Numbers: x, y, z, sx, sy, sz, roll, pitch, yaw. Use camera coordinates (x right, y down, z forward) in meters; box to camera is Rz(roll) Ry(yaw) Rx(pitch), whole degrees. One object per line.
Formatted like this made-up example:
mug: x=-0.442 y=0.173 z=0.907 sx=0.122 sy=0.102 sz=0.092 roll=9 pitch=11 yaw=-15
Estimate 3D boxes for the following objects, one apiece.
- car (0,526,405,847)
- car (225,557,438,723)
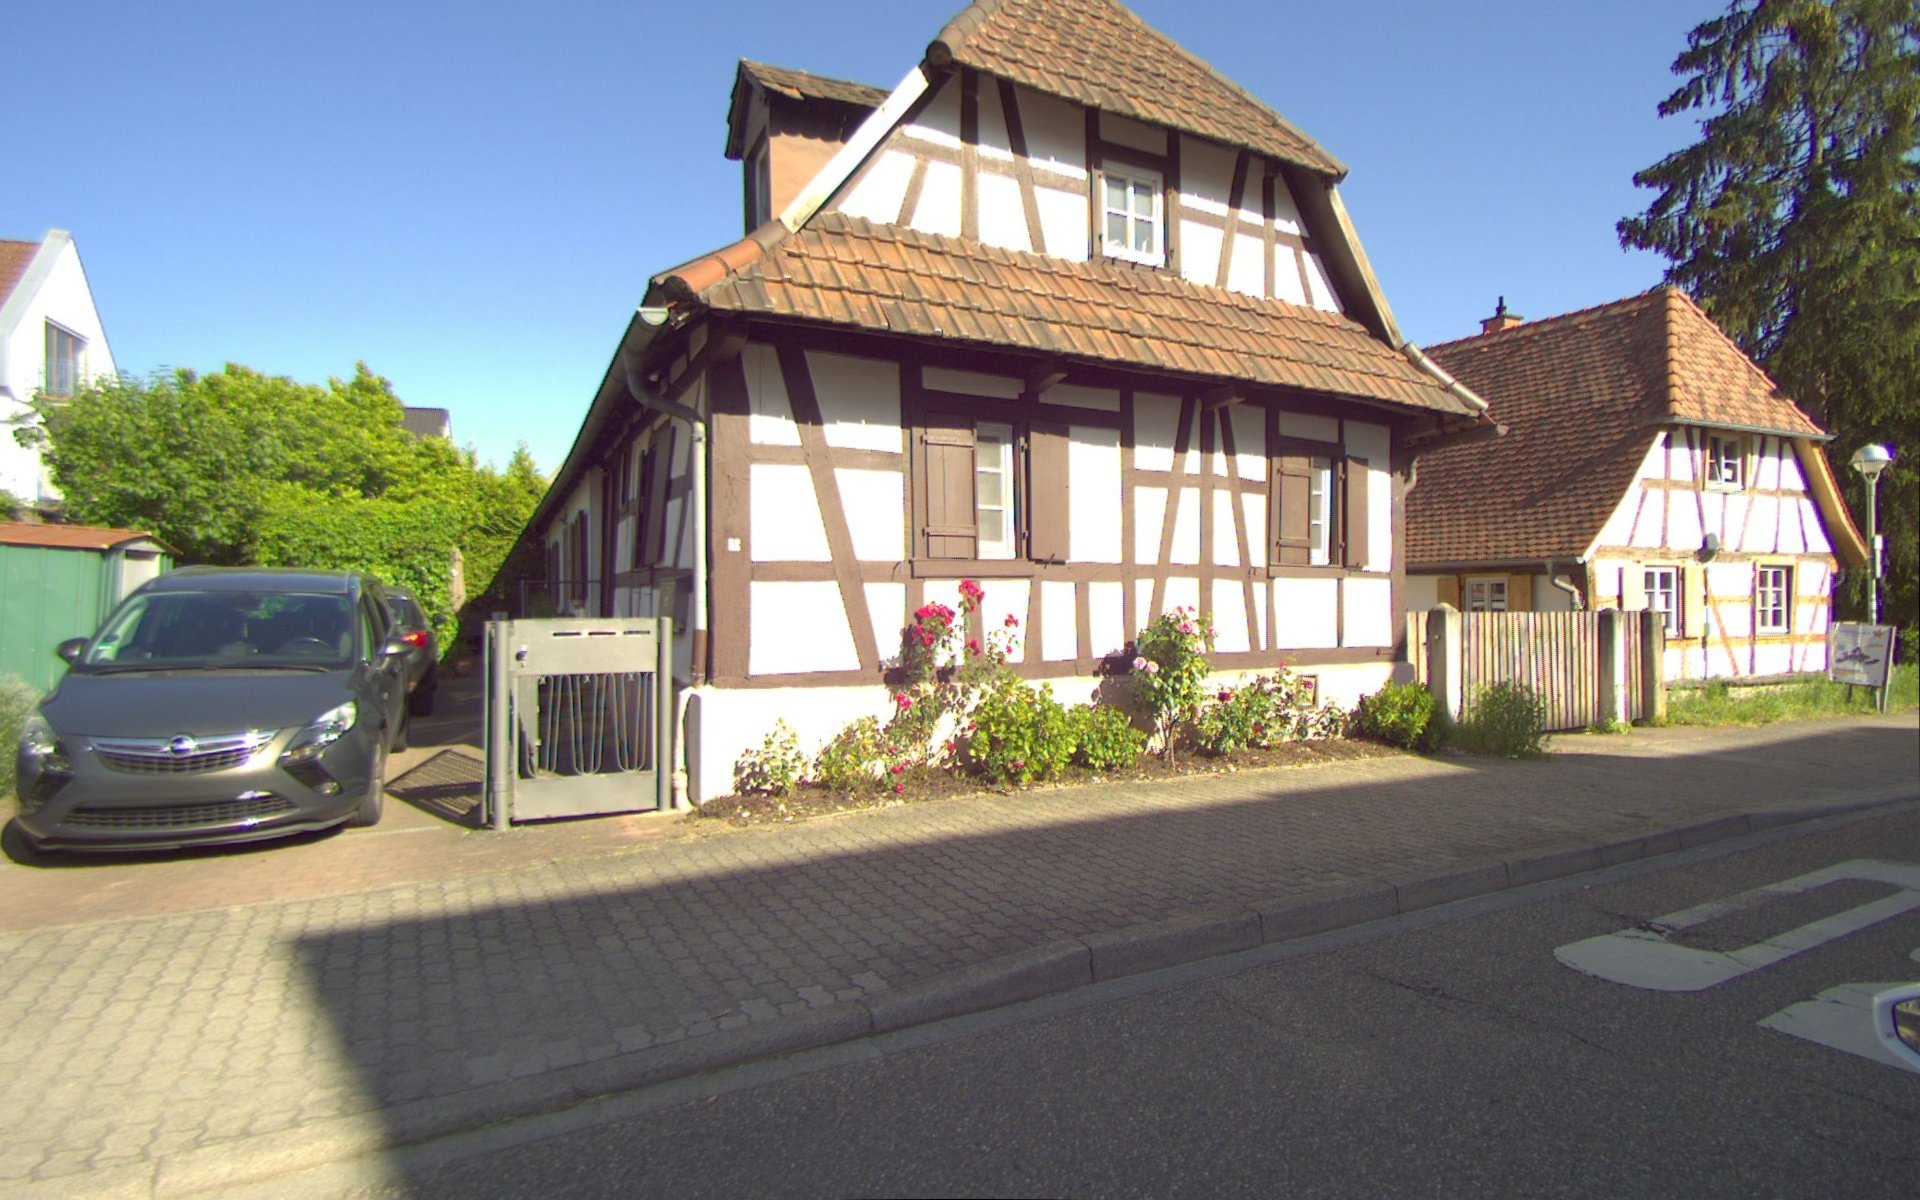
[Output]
car: x=-5.081 y=0.547 z=7.262 sx=1.797 sy=1.613 sz=4.087 roll=2 pitch=-3 yaw=-29
car: x=-7.298 y=0.373 z=11.982 sx=1.797 sy=1.614 sz=4.085 roll=2 pitch=0 yaw=-29
